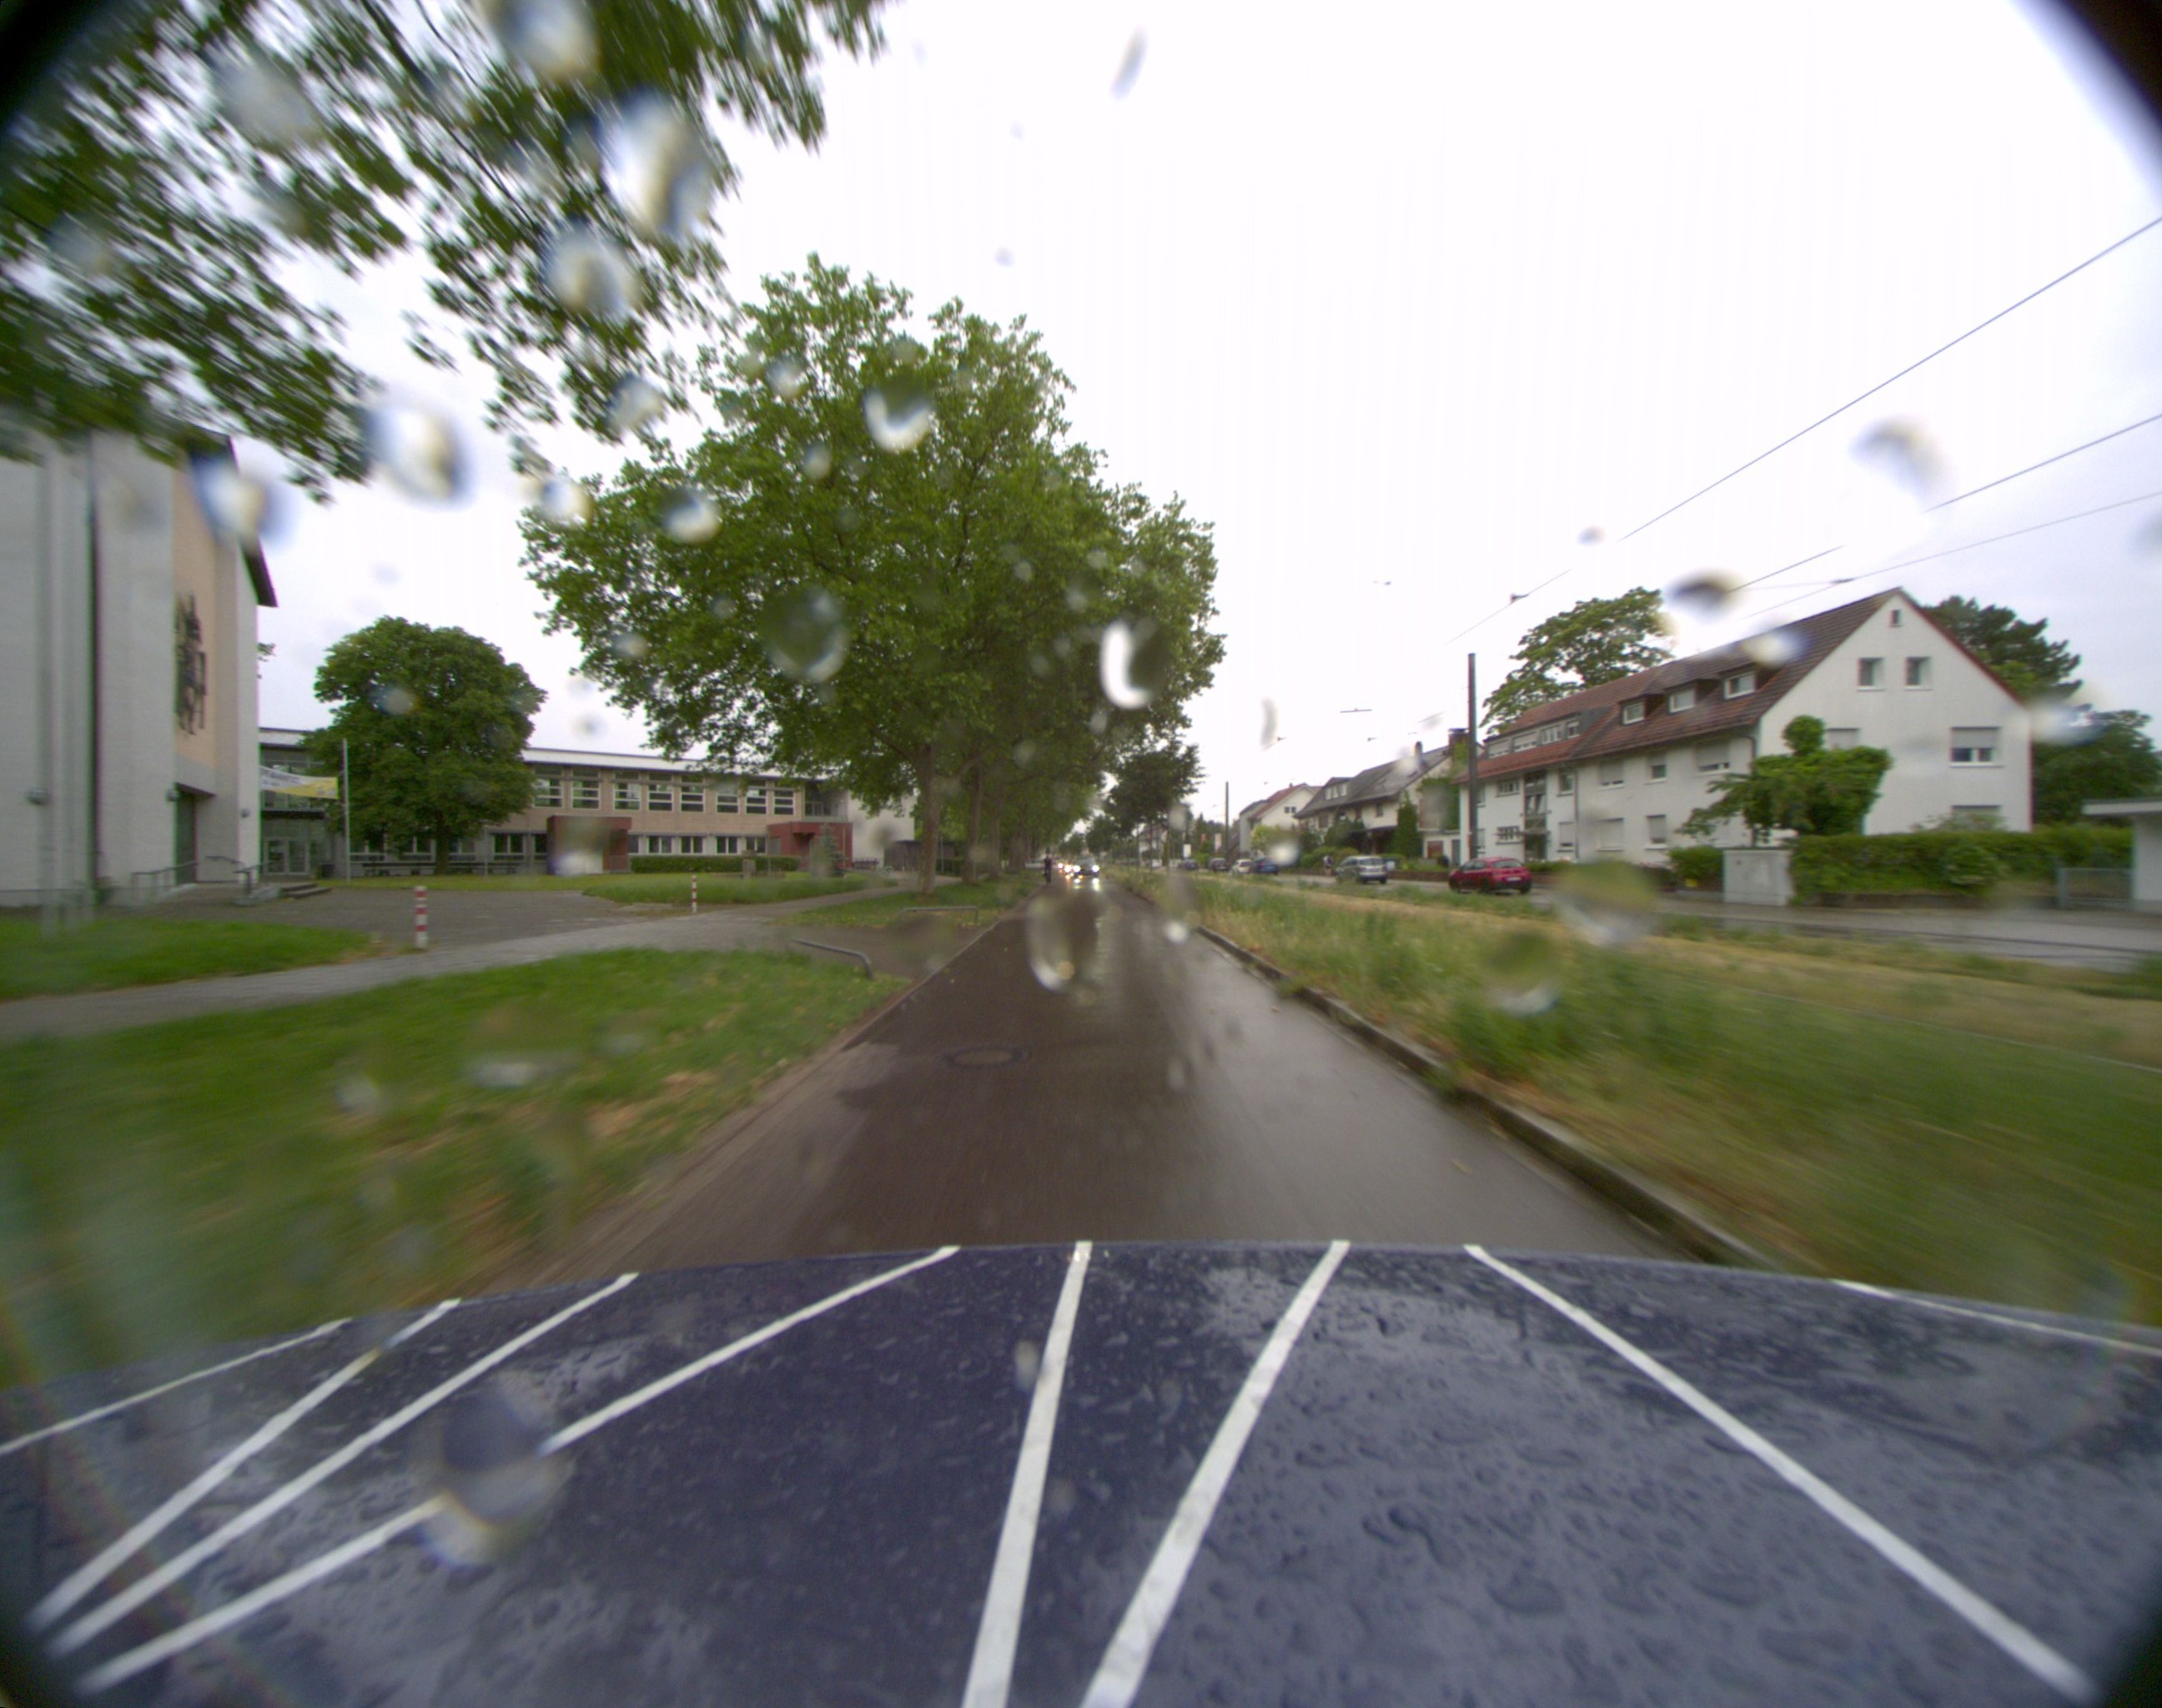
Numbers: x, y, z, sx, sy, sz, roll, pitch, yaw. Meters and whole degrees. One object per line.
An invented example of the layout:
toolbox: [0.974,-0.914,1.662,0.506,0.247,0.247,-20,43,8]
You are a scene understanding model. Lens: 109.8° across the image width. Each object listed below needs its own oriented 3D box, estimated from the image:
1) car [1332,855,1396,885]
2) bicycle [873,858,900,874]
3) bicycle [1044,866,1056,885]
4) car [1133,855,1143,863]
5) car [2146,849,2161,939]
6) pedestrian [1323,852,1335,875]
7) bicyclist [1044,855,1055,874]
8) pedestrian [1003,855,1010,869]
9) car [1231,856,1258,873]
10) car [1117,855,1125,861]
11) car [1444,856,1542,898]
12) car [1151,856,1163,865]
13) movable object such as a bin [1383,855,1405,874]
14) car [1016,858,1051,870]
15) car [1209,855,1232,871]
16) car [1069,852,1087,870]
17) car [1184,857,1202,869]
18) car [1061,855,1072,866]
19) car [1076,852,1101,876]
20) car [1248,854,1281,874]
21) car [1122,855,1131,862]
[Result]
car: [16.509,0.877,44.592,1.998,1.604,4.684,-2,0,1]
bicycle: [-14.431,0.878,56.298,0.519,1.115,1.942,3,1,43]
bicycle: [-1.750,1.187,42.658,0.659,1.008,2.256,0,1,-2]
car: [12.442,1.047,165.278,1.759,1.507,3.854,-3,0,0]
car: [20.946,0.689,12.587,3.997,1.567,1.892,0,0,-1]
pedestrian: [18.943,0.743,58.102,0.599,1.757,0.869,-1,0,0]
bicyclist: [-1.750,0.583,42.670,0.622,1.078,0.624,0,1,-2]
pedestrian: [-8.481,0.925,86.379,0.748,1.529,0.585,0,0,0]
car: [16.163,0.989,75.287,1.718,1.520,3.601,-3,0,-1]
car: [10.350,1.131,198.092,1.759,1.507,3.854,-3,0,0]
car: [16.708,0.886,31.073,1.846,1.538,3.973,-3,0,1]
car: [13.757,1.097,138.131,1.759,1.507,3.854,-3,0,0]
movable object such as a bin: [21.927,0.761,53.252,1.187,1.290,0.739,-2,0,1]
car: [-5.815,1.215,93.470,4.021,1.478,1.636,0,0,-20]
car: [15.889,0.997,86.873,1.759,1.604,4.110,-3,0,0]
car: [-0.379,0.707,79.533,1.767,1.715,3.933,-1,0,-1]
car: [15.325,1.183,104.360,1.759,1.507,3.854,-3,0,0]
car: [-2.300,1.032,121.205,1.768,1.715,3.933,0,1,-2]
car: [0.541,0.761,58.674,1.767,1.715,3.934,-2,0,-1]
car: [16.433,0.912,68.301,1.849,1.696,4.182,-2,0,-2]
car: [11.208,1.050,186.317,1.759,1.507,3.854,-3,0,0]
